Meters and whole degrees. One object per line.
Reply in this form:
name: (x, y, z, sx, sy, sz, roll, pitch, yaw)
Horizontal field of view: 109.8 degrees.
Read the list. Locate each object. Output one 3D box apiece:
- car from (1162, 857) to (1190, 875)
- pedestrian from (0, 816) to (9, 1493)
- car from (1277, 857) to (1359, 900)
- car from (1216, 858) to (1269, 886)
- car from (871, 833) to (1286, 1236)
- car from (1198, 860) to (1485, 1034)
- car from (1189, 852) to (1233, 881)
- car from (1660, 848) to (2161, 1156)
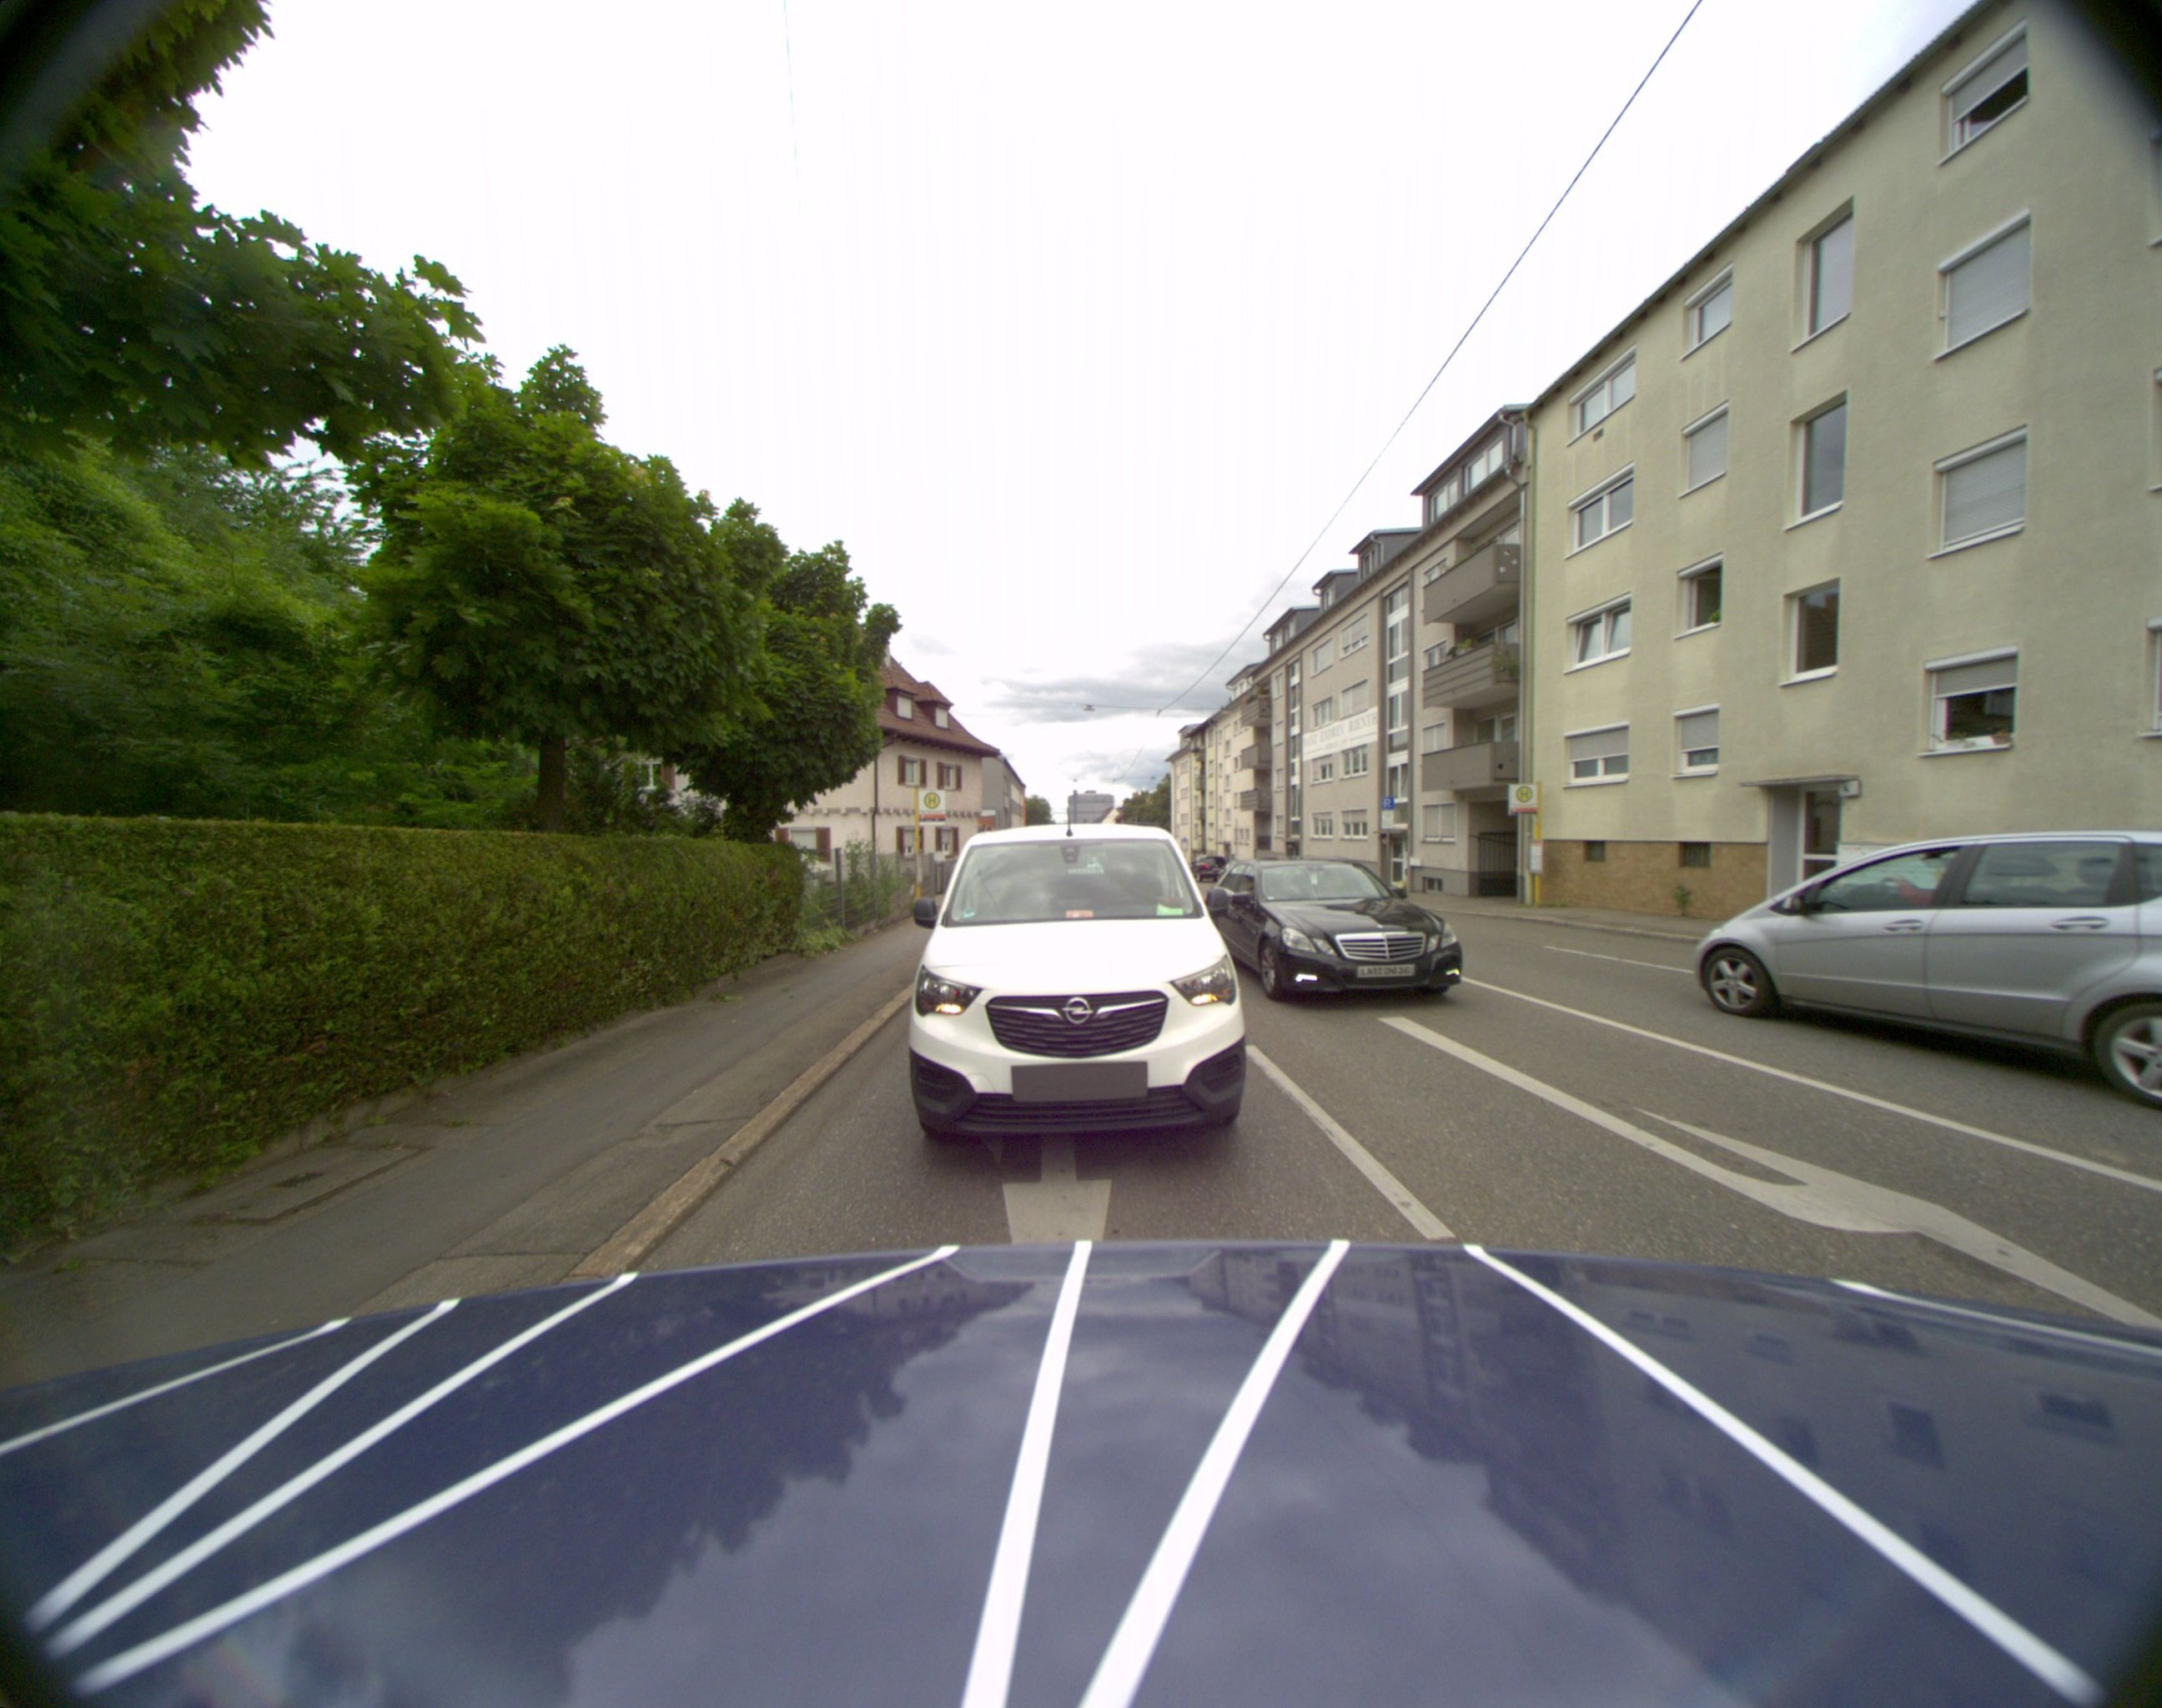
car: (8.205, 1.004, 65.979, 1.875, 1.372, 4.307, 2, 0, 0)
pedestrian: (-2.938, 0.762, 1.589, 0.695, 1.728, 0.467, 2, 1, -1)
car: (8.900, 0.866, 28.850, 1.773, 1.428, 3.800, 2, 0, -2)
car: (8.524, 0.917, 40.366, 1.773, 1.397, 4.307, 0, 0, -2)
car: (-0.064, 0.797, 5.437, 1.803, 1.736, 3.999, -3, 1, -2)
car: (2.704, 0.860, 9.088, 1.752, 1.446, 4.444, -2, 1, -2)
car: (8.340, 0.752, 49.129, 1.875, 1.743, 4.306, 1, 0, -2)
car: (6.588, 0.788, 5.427, 1.714, 1.608, 3.998, -2, 1, -3)
